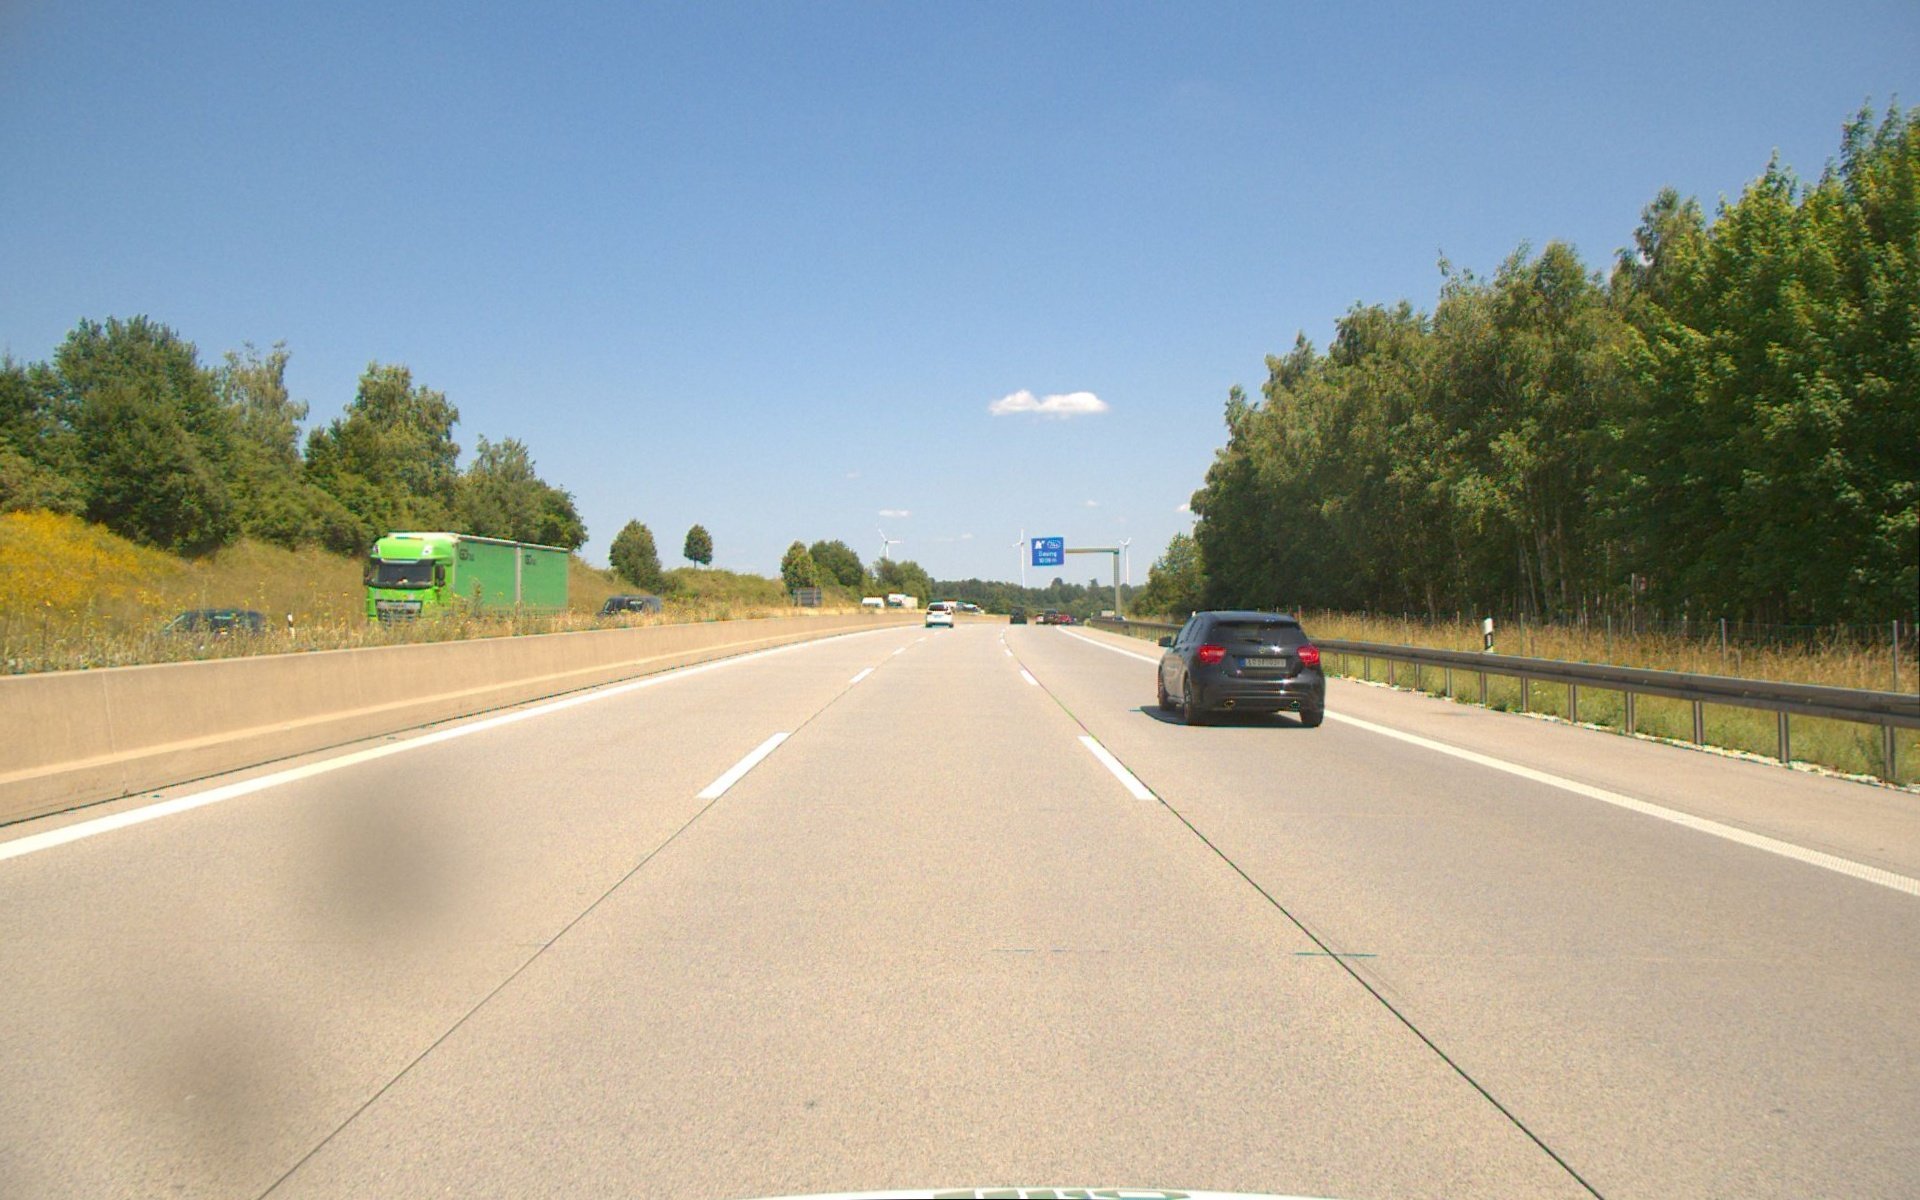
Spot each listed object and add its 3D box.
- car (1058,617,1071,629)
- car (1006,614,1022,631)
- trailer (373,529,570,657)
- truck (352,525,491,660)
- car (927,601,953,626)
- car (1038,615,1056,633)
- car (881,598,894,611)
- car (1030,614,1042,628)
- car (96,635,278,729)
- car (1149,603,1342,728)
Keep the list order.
[{"bbox_3d":[15.686,3.465,248.336,1.752,1.842,3.744,0,0,-2],"label":"car"},{"bbox_3d":[6.426,2.709,197.505,1.789,1.971,3.809,0,0,1],"label":"car"},{"bbox_3d":[-19.816,-0.240,68.798,3.091,4.688,16.438,0,0,1],"label":"trailer"},{"bbox_3d":[-19.878,-0.244,61.486,3.026,4.743,6.265,1,0,0],"label":"truck"},{"bbox_3d":[-1.393,0.950,116.283,1.808,1.738,6.035,1,0,-1],"label":"car"},{"bbox_3d":[9.712,2.702,185.186,1.790,1.940,4.000,0,0,0],"label":"car"},{"bbox_3d":[-10.694,0.694,244.021,1.824,1.847,4.000,0,0,0],"label":"car"},{"bbox_3d":[11.838,3.290,258.971,1.708,2.025,4.000,0,0,0],"label":"car"},{"bbox_3d":[-16.260,1.681,35.026,1.953,1.803,3.999,1,0,0],"label":"car"},{"bbox_3d":[3.761,0.813,22.474,1.871,1.518,4.191,1,0,0],"label":"car"}]
